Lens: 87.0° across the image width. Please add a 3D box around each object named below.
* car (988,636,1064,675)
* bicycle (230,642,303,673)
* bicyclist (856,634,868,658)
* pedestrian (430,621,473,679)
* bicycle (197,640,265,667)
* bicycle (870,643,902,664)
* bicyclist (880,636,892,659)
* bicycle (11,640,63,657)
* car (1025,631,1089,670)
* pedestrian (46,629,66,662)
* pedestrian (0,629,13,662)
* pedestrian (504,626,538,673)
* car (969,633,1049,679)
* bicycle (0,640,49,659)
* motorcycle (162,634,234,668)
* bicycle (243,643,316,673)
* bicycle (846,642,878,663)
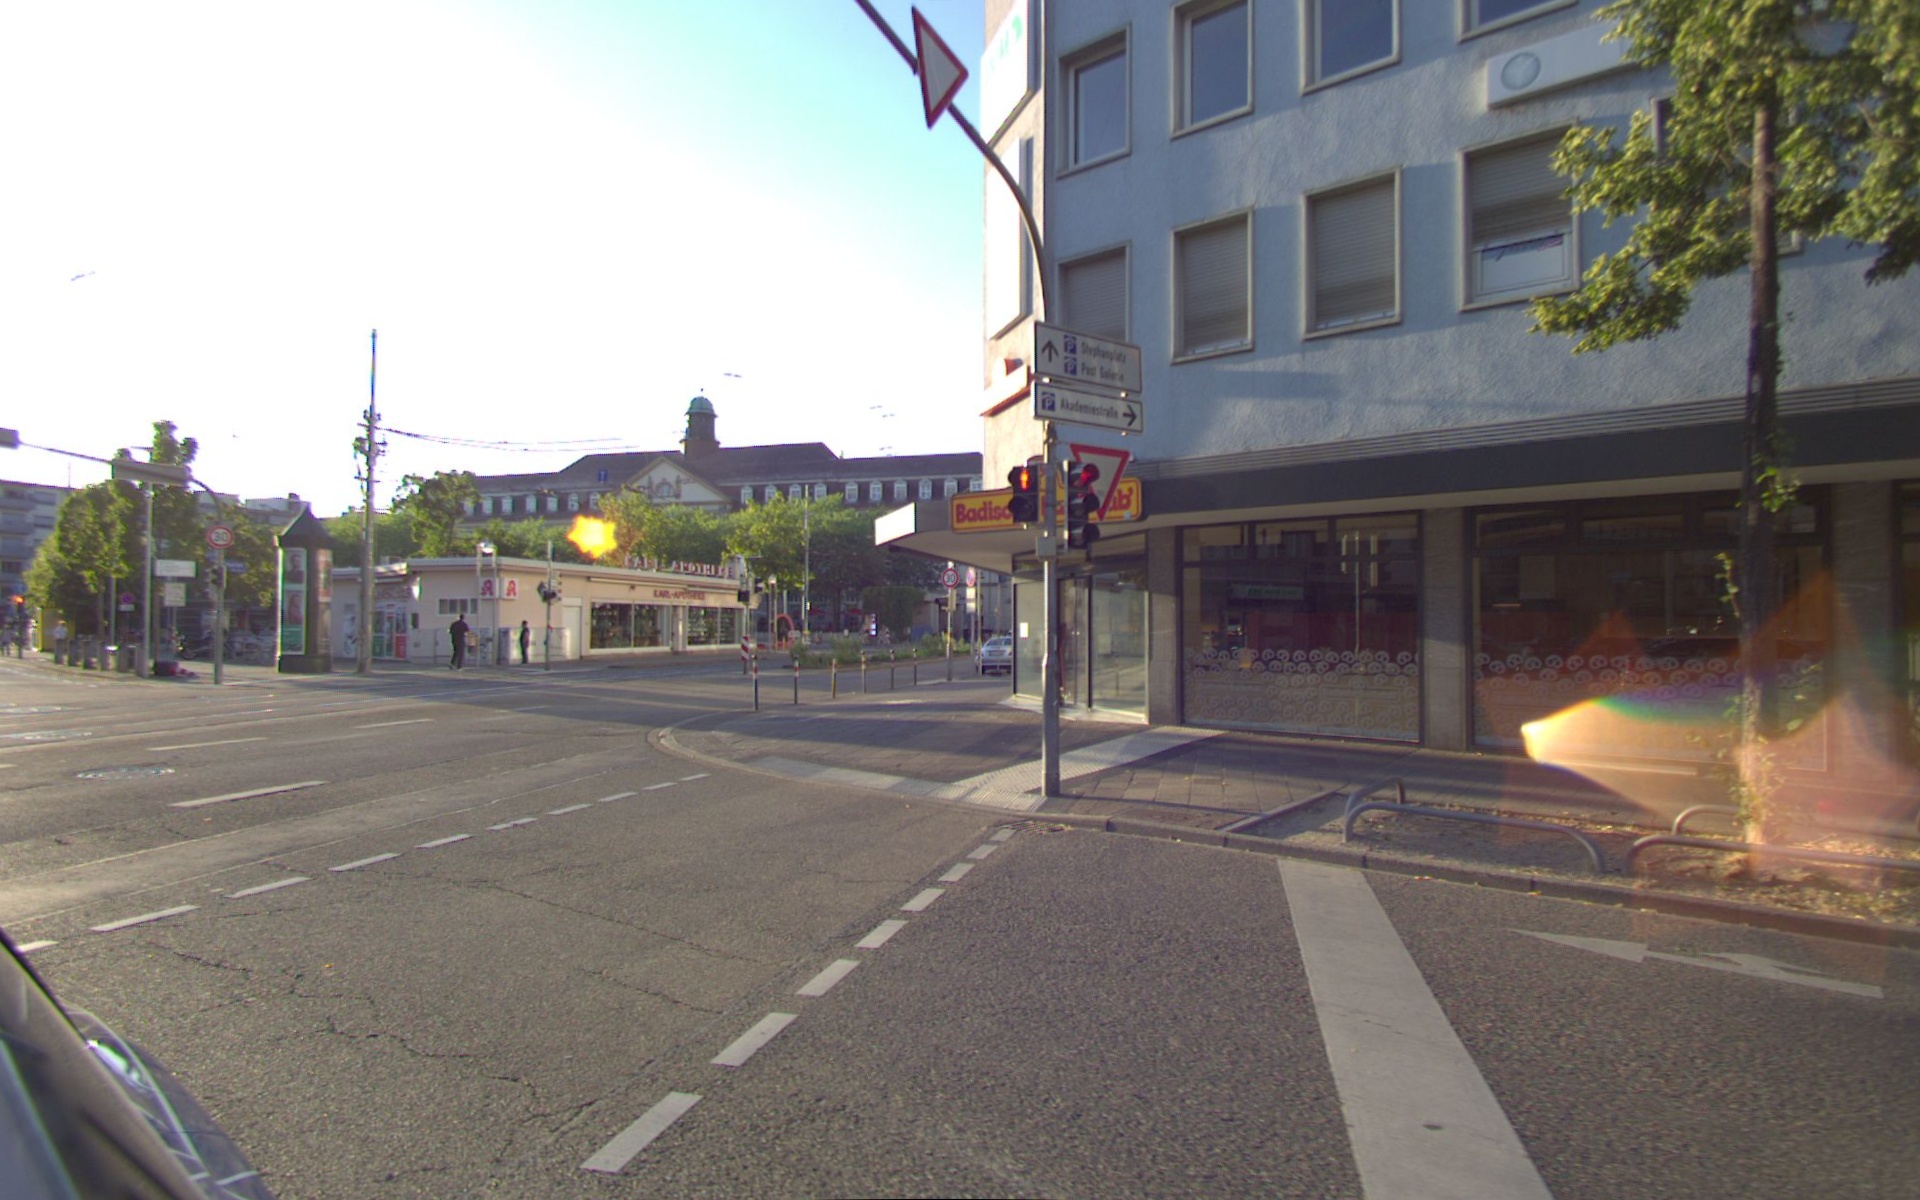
[{"bbox_3d":[2.788,2.237,41.626,2.033,1.487,4.580,-1,-2,19],"label":"car"},{"bbox_3d":[-26.839,2.212,39.183,0.777,1.096,2.197,-1,-1,33],"label":"bicycle"},{"bbox_3d":[-7.469,3.492,77.098,0.776,1.733,0.595,0,-1,-31],"label":"bicyclist"},{"bbox_3d":[-16.310,1.588,32.463,0.874,1.798,0.901,0,-1,19],"label":"pedestrian"},{"bbox_3d":[-30.455,2.241,42.331,0.779,1.096,2.153,-1,-3,39],"label":"bicycle"},{"bbox_3d":[-5.515,3.989,75.866,2.378,1.497,0.618,0,-1,-31],"label":"bicycle"},{"bbox_3d":[-5.549,3.571,75.835,0.644,1.725,0.623,0,-1,-31],"label":"bicyclist"},{"bbox_3d":[-57.288,3.028,62.851,2.366,0.966,0.673,0,-1,-43],"label":"bicycle"},{"bbox_3d":[4.653,2.348,47.863,2.032,1.750,4.581,-1,-2,18],"label":"car"},{"bbox_3d":[-47.096,2.368,52.701,0.767,1.689,0.908,0,-1,-43],"label":"pedestrian"},{"bbox_3d":[-50.387,2.401,53.149,0.892,1.689,0.781,0,-1,-39],"label":"pedestrian"},{"bbox_3d":[-16.126,1.816,37.154,0.895,1.689,0.778,0,-1,5],"label":"pedestrian"},{"bbox_3d":[1.864,2.007,37.046,1.786,1.587,4.272,-2,-2,20],"label":"car"},{"bbox_3d":[-59.561,3.136,64.361,2.366,1.079,0.673,0,-1,-43],"label":"bicycle"},{"bbox_3d":[-33.186,2.217,44.108,0.780,1.376,2.417,-3,-2,45],"label":"motorcycle"},{"bbox_3d":[-25.909,2.186,38.552,0.777,1.096,2.172,-1,-2,33],"label":"bicycle"},{"bbox_3d":[-7.452,3.993,77.105,2.458,1.497,0.595,0,-1,-31],"label":"bicycle"}]
